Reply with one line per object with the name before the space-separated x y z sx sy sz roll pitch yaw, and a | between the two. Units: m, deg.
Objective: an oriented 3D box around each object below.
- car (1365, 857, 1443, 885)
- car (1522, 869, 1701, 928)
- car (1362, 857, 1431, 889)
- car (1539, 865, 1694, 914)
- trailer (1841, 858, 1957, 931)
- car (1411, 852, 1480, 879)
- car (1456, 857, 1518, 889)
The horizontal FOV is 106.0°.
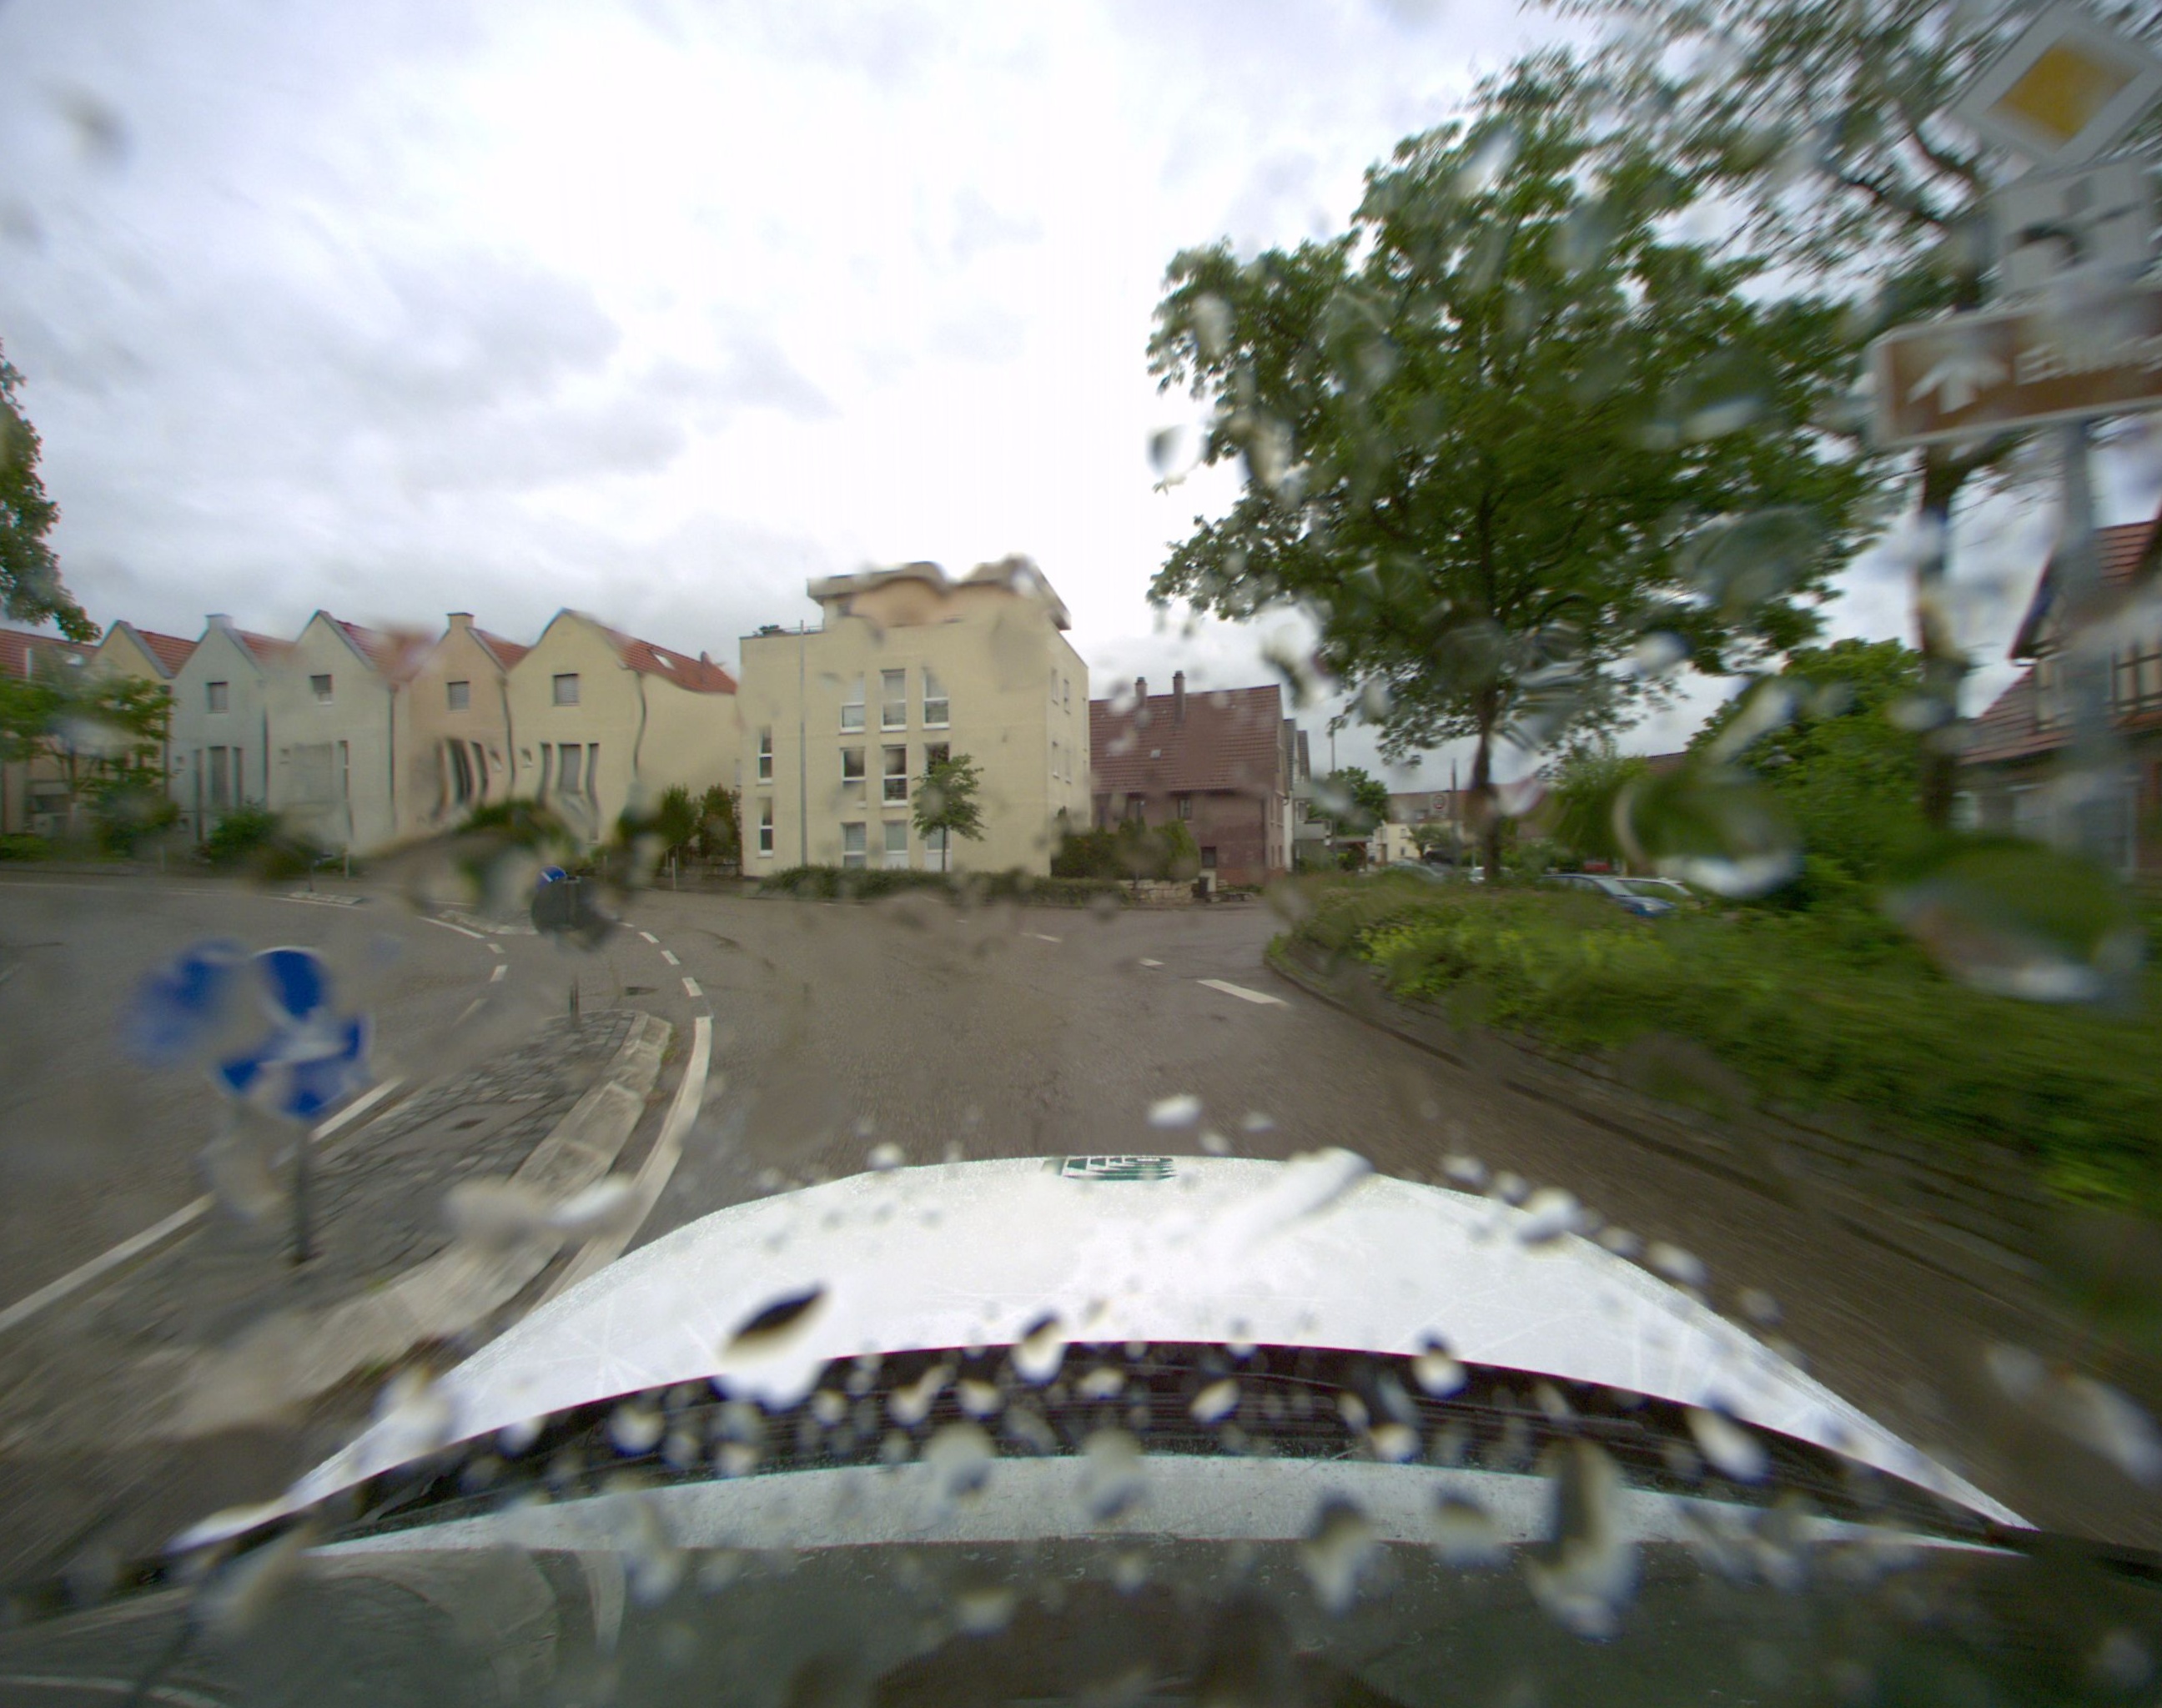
car | 18.132 0.946 45.903 3.954 1.456 1.956 1 0 19
car | 14.047 1.116 21.773 1.627 1.390 3.700 1 -1 -28
car | 19.741 1.150 50.967 3.952 1.882 1.849 1 0 22
car | 16.847 1.068 25.694 3.949 1.390 1.634 0 -1 39
trailer | 20.067 0.933 20.086 1.394 1.649 2.742 1 0 31
car | 23.720 0.740 53.124 3.954 1.697 2.010 1 0 20
car | 20.714 0.930 41.505 1.735 1.536 4.174 0 -1 43
